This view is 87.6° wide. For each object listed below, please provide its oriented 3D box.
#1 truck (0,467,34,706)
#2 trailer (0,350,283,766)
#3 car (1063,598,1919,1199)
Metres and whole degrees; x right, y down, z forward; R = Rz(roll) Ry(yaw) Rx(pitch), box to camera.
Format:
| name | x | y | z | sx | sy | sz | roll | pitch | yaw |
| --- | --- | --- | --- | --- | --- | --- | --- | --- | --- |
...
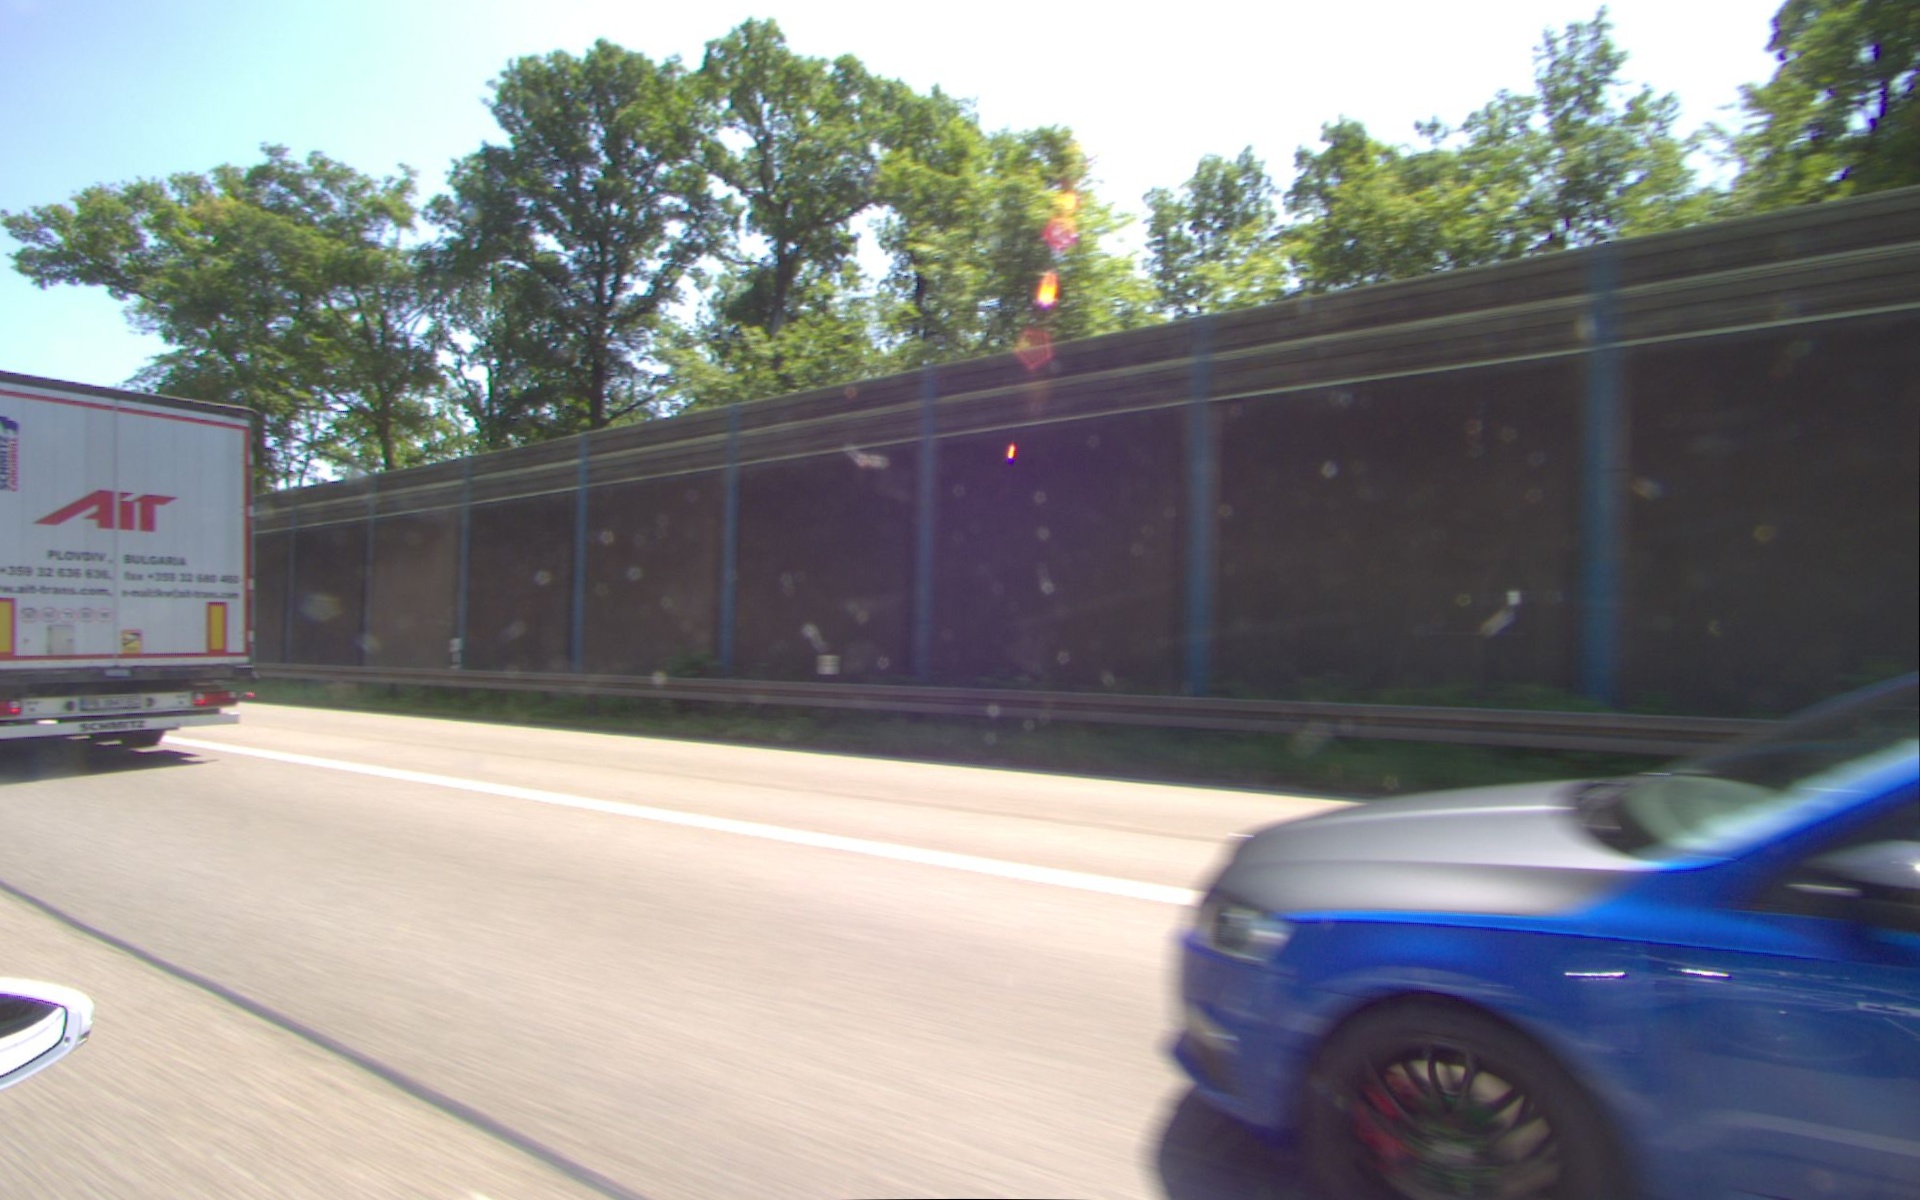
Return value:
| name | x | y | z | sx | sy | sz | roll | pitch | yaw |
| --- | --- | --- | --- | --- | --- | --- | --- | --- | --- |
| truck | -19.844 | -0.198 | 18.510 | 5.906 | 4.199 | 2.878 | -1 | -1 | 36 |
| trailer | -14.364 | -0.259 | 14.650 | 13.612 | 4.090 | 2.877 | -1 | -1 | 36 |
| car | 2.561 | 0.742 | 2.067 | 4.421 | 1.501 | 1.647 | -3 | -2 | 34 |
